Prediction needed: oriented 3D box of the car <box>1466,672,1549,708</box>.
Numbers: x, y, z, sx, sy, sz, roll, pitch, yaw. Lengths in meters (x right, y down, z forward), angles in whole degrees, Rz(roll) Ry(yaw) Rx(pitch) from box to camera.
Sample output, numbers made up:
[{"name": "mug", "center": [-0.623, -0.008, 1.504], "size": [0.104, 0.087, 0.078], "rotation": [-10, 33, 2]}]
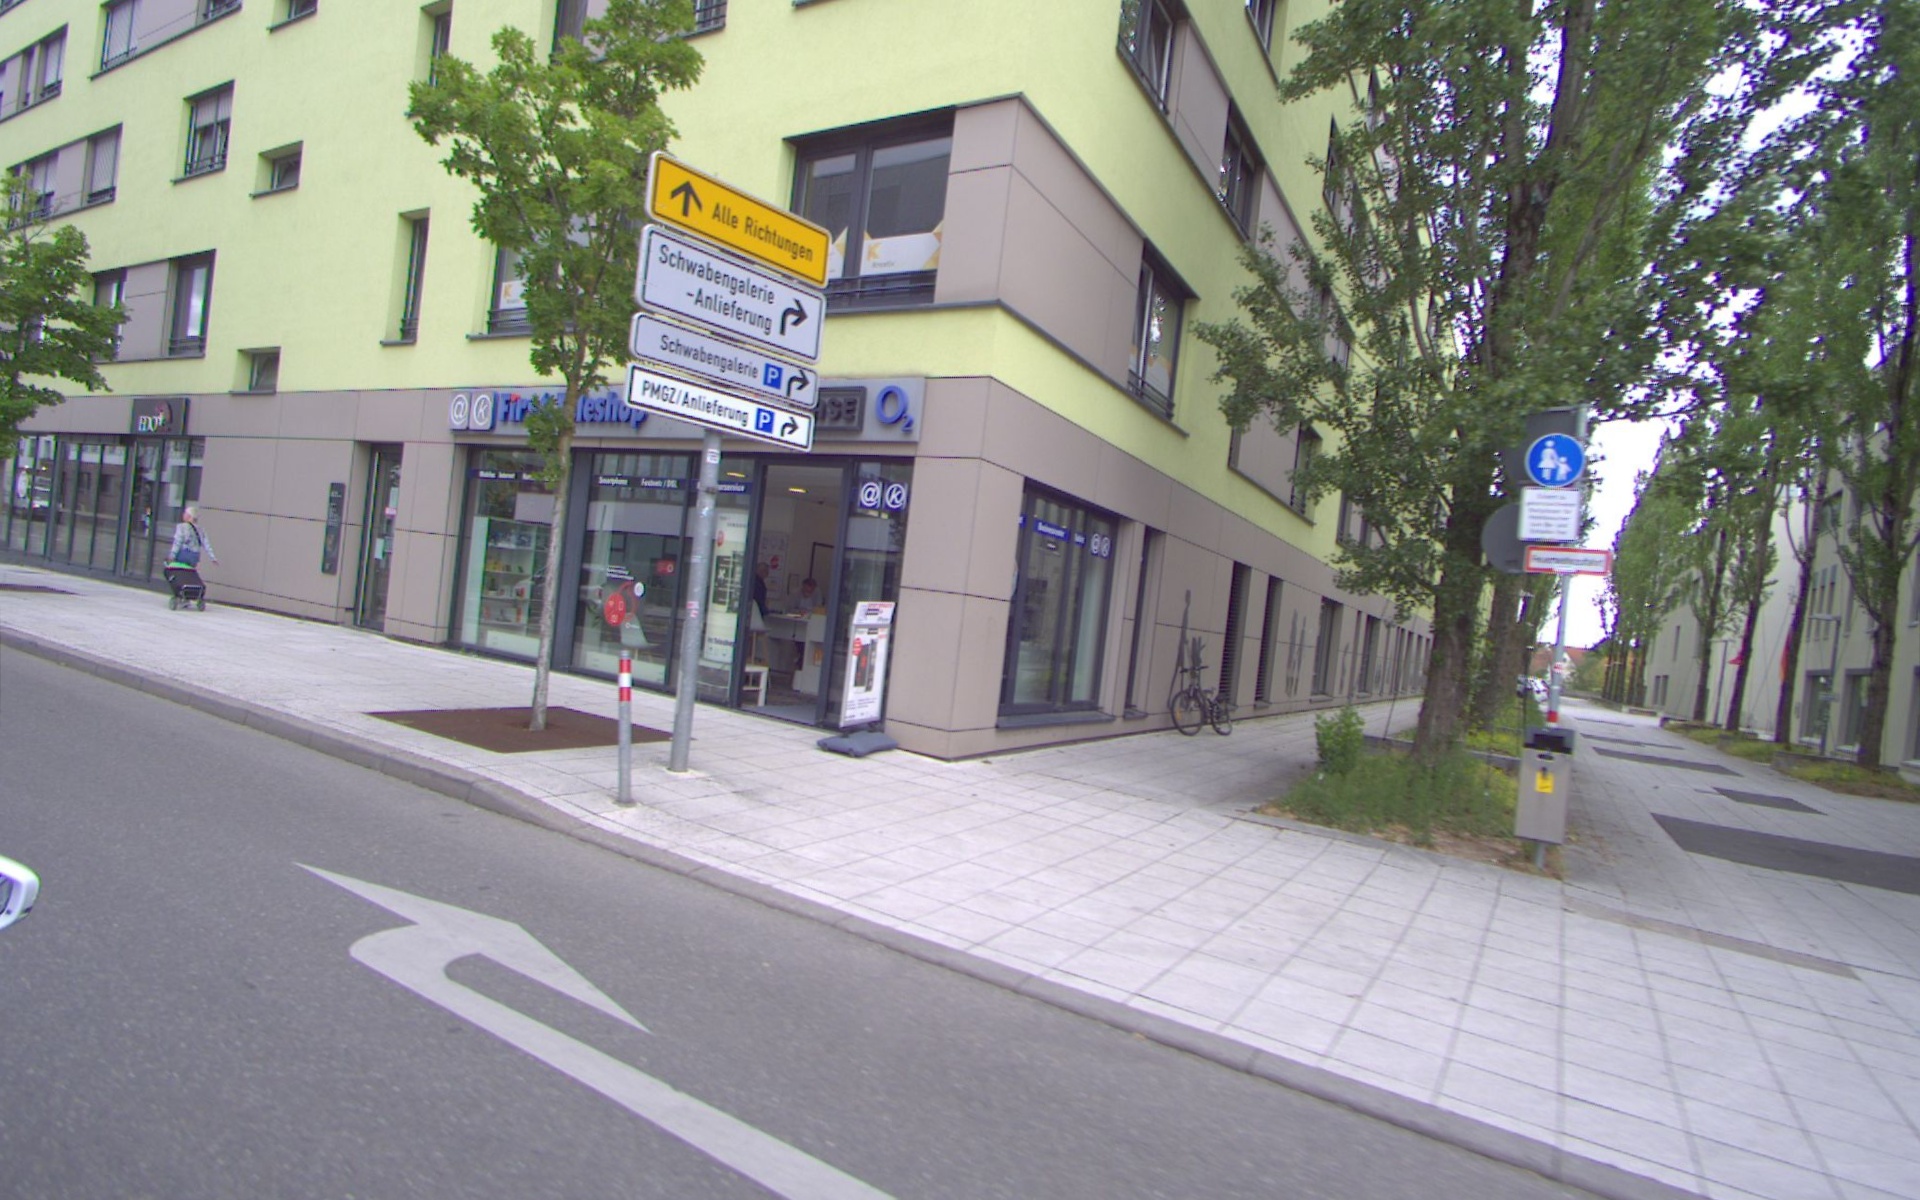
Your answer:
[{"name": "car", "center": [36.641, 6.025, 67.344], "size": [4.711, 1.673, 1.740], "rotation": [6, -2, 32]}]

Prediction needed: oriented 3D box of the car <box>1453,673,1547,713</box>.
[{"name": "car", "center": [32.189, 5.509, 59.997], "size": [4.711, 1.673, 1.740], "rotation": [6, -2, 32]}]

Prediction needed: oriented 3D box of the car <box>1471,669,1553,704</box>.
[{"name": "car", "center": [37.779, 5.929, 68.923], "size": [4.711, 1.673, 1.740], "rotation": [6, -2, 32]}]

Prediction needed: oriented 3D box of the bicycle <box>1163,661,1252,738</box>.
[{"name": "bicycle", "center": [3.712, 1.487, 14.988], "size": [0.533, 1.012, 1.879], "rotation": [7, -1, 36]}]

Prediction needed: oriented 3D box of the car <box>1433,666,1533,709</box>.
[{"name": "car", "center": [28.905, 4.837, 55.651], "size": [4.711, 1.673, 1.740], "rotation": [6, -2, 32]}]

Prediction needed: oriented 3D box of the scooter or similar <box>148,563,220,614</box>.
[{"name": "scooter or similar", "center": [-11.966, -0.176, 15.514], "size": [0.810, 0.681, 0.592], "rotation": [7, 1, 31]}]

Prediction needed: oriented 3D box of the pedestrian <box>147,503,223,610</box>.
[{"name": "pedestrian", "center": [-12.404, -0.695, 16.105], "size": [0.593, 1.614, 0.696], "rotation": [7, 2, 31]}]
